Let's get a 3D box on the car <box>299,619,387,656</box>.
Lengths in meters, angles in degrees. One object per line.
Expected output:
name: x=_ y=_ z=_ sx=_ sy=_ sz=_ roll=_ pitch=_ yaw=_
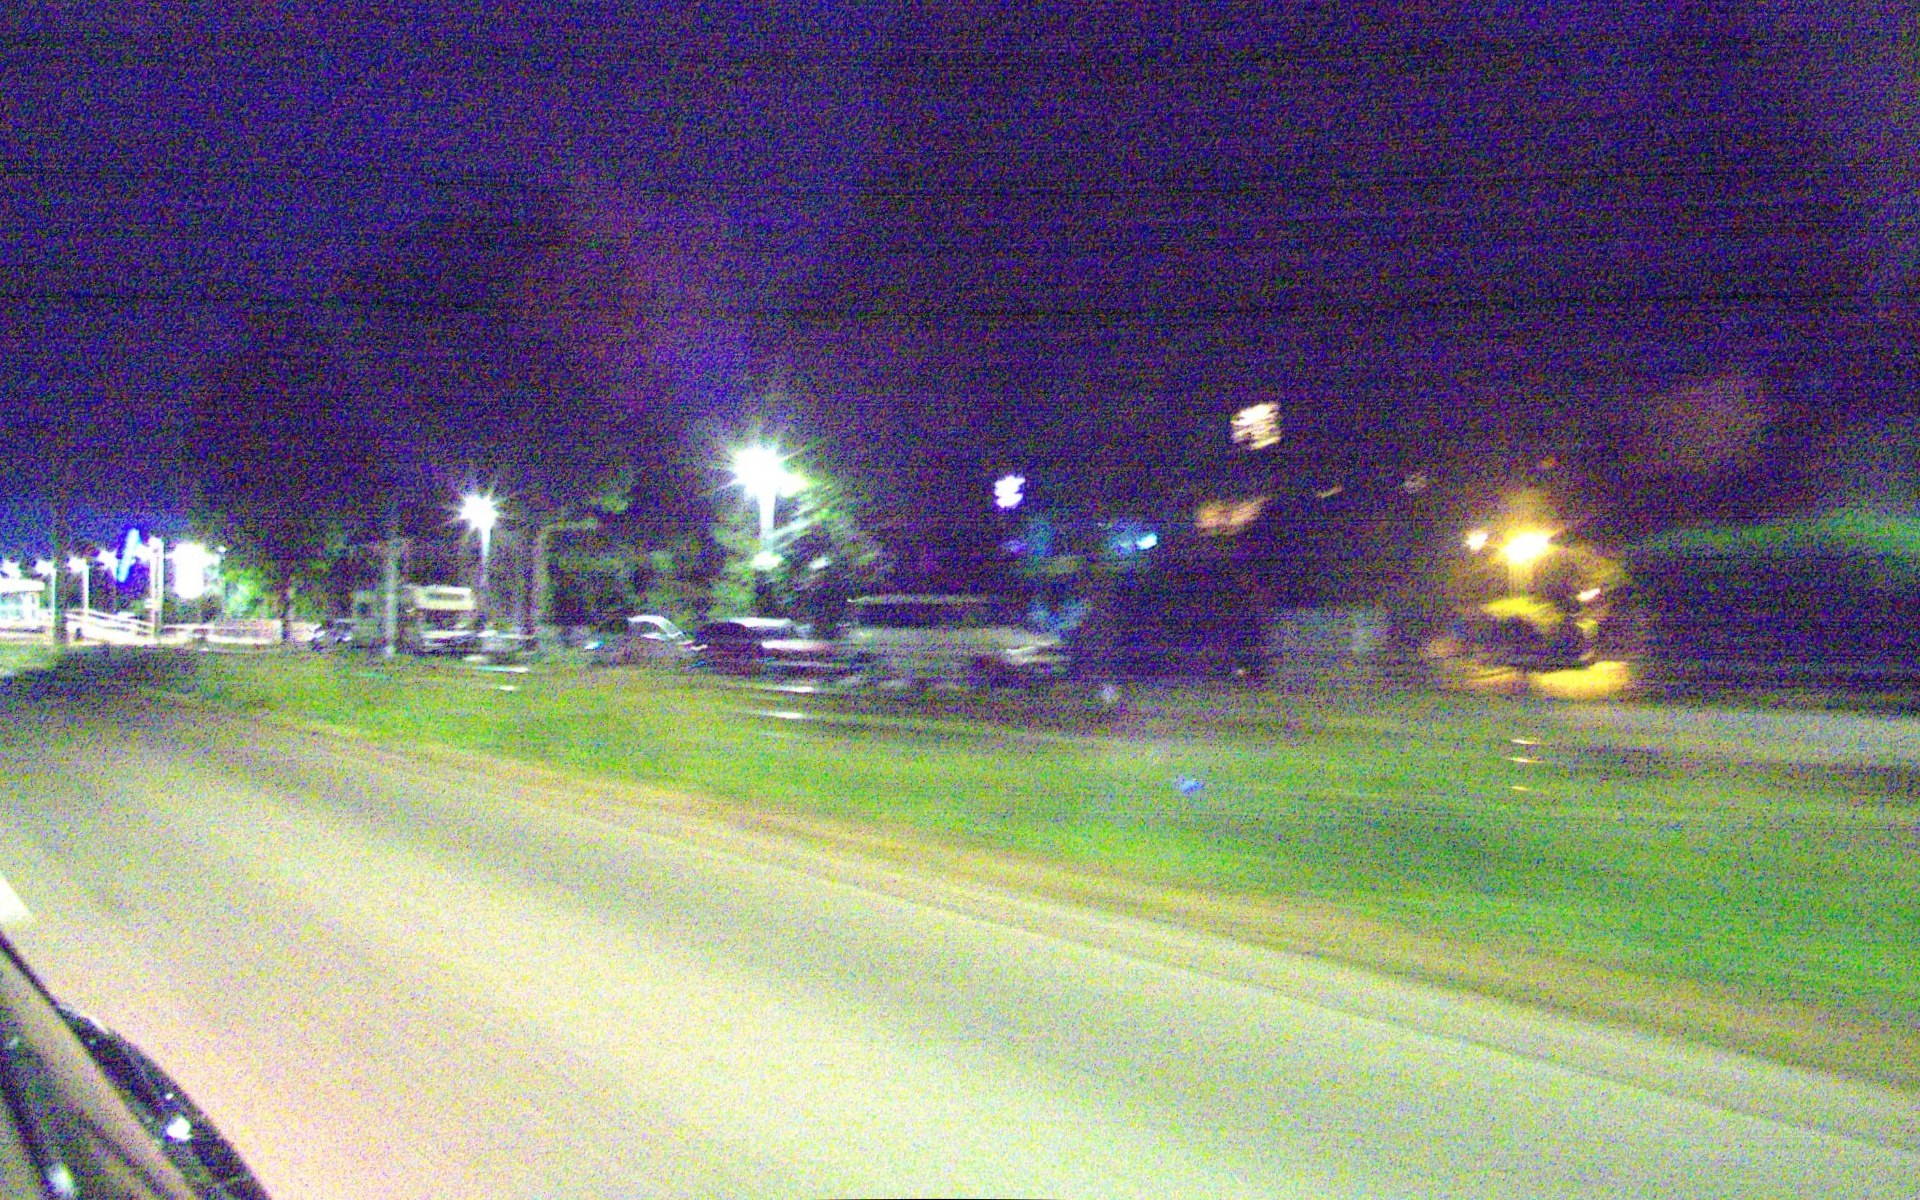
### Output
car: x=-25.325 y=1.525 z=41.469 sx=4.539 sy=1.350 sz=1.629 roll=-1 pitch=-6 yaw=40

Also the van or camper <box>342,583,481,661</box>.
van or camper: x=-20.346 y=0.851 z=37.438 sx=5.653 sy=2.668 sz=2.252 roll=-1 pitch=-4 yaw=37

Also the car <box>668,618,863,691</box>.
car: x=-4.692 y=1.187 z=23.860 sx=5.172 sy=1.534 sz=1.881 roll=-1 pitch=-1 yaw=43

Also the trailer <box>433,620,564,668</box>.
trailer: x=-15.221 y=1.427 z=33.268 sx=2.392 sy=1.385 sz=4.657 roll=6 pitch=-5 yaw=-45

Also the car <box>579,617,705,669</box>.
car: x=-8.656 y=1.143 z=27.697 sx=1.531 sy=1.336 sz=3.002 roll=-1 pitch=-1 yaw=35

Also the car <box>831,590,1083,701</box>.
car: x=-0.152 y=0.829 z=19.824 sx=4.873 sy=1.918 sz=1.839 roll=-1 pitch=-1 yaw=38
